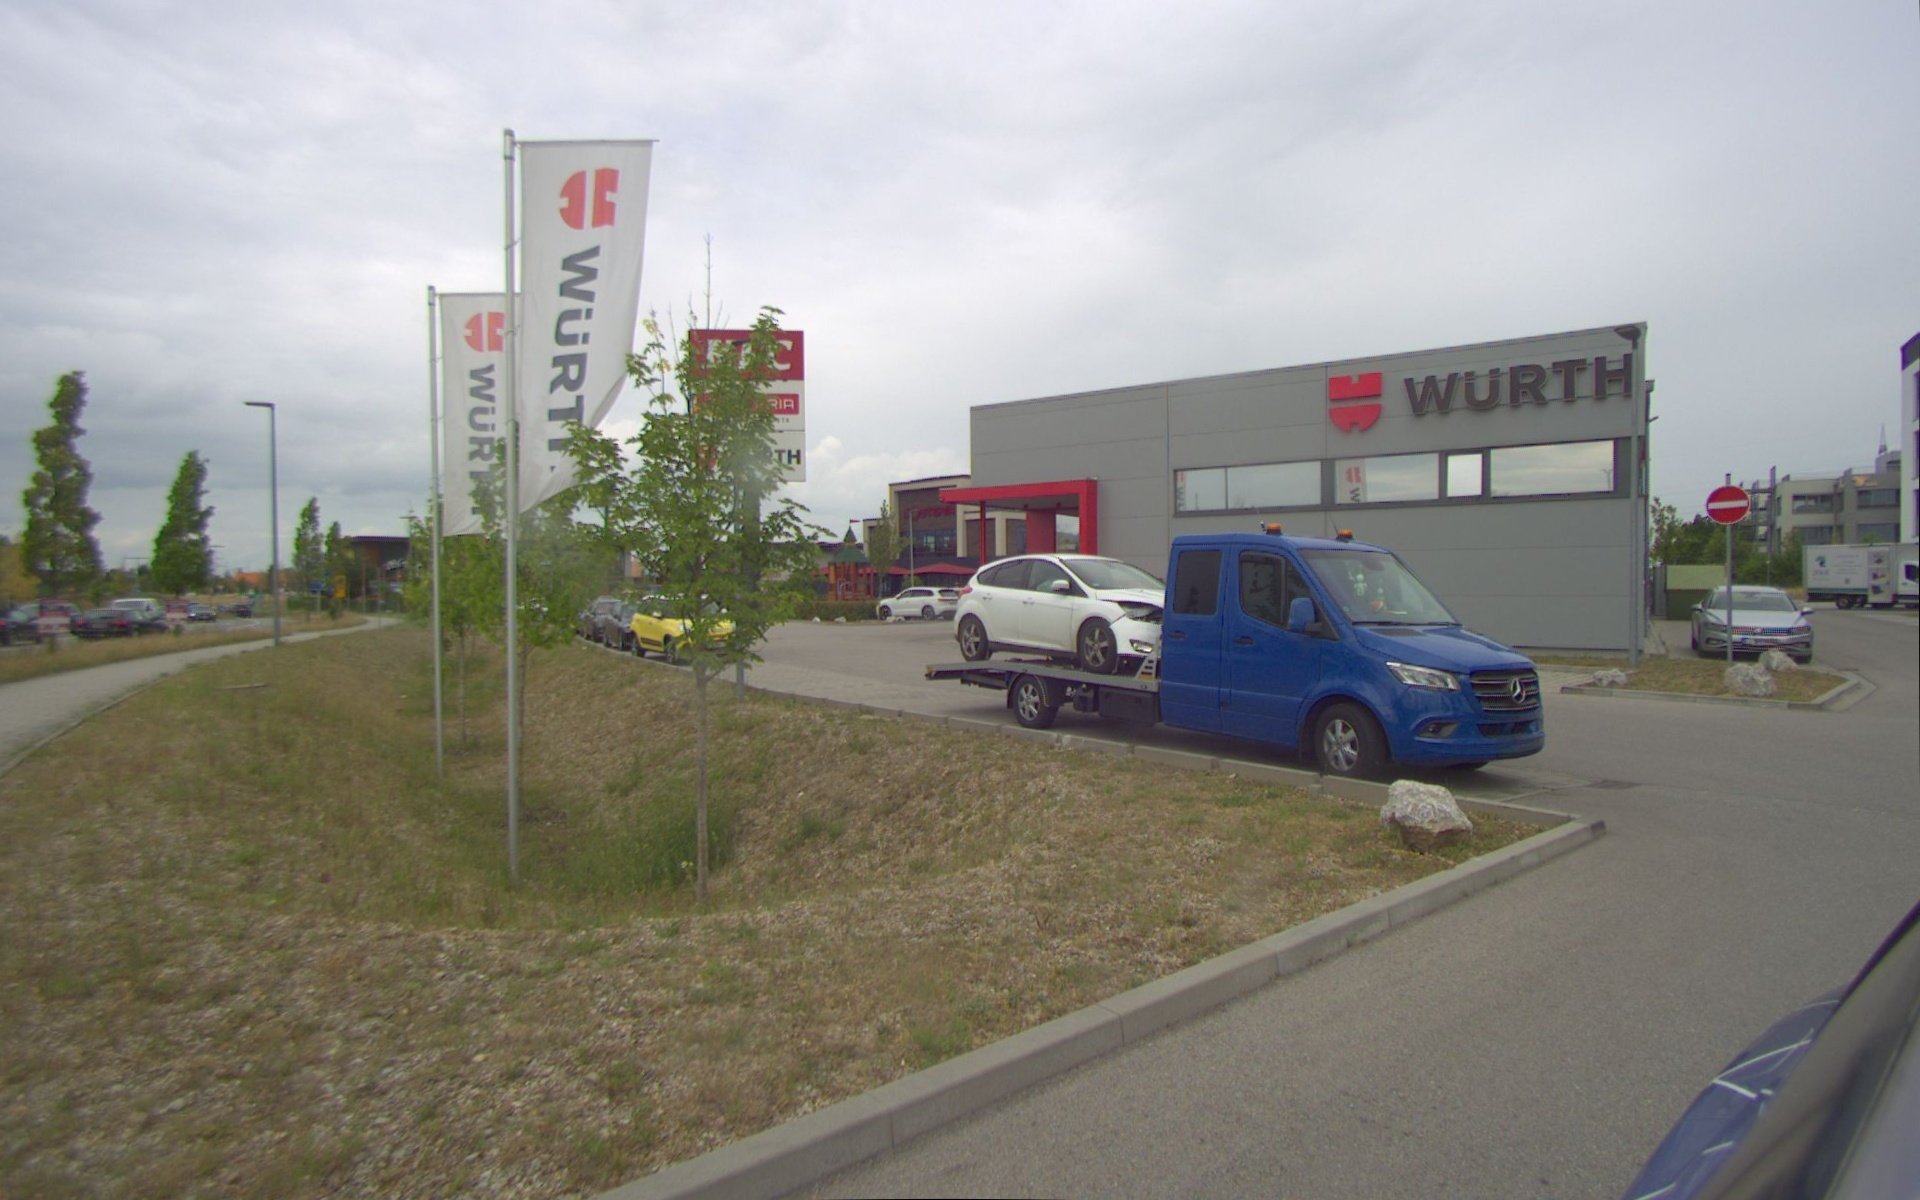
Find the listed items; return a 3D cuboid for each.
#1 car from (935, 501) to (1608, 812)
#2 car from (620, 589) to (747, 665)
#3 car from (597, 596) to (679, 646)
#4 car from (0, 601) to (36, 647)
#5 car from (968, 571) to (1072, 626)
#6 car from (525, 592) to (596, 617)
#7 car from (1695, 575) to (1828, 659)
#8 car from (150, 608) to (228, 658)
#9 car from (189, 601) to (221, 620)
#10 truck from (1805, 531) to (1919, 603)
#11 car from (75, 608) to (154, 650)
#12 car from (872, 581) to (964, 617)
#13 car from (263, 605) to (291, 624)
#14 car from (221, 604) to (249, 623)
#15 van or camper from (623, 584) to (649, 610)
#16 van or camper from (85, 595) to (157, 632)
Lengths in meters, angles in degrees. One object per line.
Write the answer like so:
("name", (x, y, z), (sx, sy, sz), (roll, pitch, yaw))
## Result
("car", (2.647, 0.343, 11.562), (2.158, 2.351, 7.862), (-1, 2, -32))
("car", (-7.096, 0.611, 25.694), (1.720, 1.704, 4.298), (-2, 1, -35))
("car", (-10.144, 0.609, 31.718), (1.708, 1.378, 4.005), (-2, 1, -28))
("car", (-36.037, 0.887, 37.352), (1.871, 1.588, 4.341), (-1, 1, -29))
("car", (2.266, -0.054, 38.696), (3.653, 2.004, 1.655), (-1, 1, 36))
("car", (-24.651, 0.250, 62.438), (3.918, 1.438, 1.813), (-2, 1, -26))
("car", (17.028, 0.258, 21.411), (1.973, 1.510, 4.701), (3, 3, 41))
("car", (-29.670, 1.220, 39.039), (1.651, 1.697, 3.511), (-2, 1, -25))
("car", (-62.869, 0.873, 84.308), (1.740, 1.401, 4.153), (-1, 2, -31))
("truck", (41.506, -1.460, 44.451), (2.388, 3.054, 7.077), (-2, 1, -5))
("car", (-32.081, 1.066, 38.499), (1.464, 1.403, 3.347), (-2, 1, -25))
("car", (-2.193, -0.057, 51.874), (4.715, 1.770, 1.735), (-1, 1, 38))
("car", (-72.172, 1.493, 106.898), (1.780, 1.872, 3.904), (-3, 2, -44))
("car", (-75.769, 1.390, 105.774), (1.780, 1.872, 3.904), (-3, 2, -44))
("van or camper", (-28.004, -0.287, 87.594), (1.820, 2.087, 5.245), (-1, 1, -15))
("van or camper", (-49.110, 0.743, 59.328), (1.959, 1.935, 5.213), (-1, 2, -25))
